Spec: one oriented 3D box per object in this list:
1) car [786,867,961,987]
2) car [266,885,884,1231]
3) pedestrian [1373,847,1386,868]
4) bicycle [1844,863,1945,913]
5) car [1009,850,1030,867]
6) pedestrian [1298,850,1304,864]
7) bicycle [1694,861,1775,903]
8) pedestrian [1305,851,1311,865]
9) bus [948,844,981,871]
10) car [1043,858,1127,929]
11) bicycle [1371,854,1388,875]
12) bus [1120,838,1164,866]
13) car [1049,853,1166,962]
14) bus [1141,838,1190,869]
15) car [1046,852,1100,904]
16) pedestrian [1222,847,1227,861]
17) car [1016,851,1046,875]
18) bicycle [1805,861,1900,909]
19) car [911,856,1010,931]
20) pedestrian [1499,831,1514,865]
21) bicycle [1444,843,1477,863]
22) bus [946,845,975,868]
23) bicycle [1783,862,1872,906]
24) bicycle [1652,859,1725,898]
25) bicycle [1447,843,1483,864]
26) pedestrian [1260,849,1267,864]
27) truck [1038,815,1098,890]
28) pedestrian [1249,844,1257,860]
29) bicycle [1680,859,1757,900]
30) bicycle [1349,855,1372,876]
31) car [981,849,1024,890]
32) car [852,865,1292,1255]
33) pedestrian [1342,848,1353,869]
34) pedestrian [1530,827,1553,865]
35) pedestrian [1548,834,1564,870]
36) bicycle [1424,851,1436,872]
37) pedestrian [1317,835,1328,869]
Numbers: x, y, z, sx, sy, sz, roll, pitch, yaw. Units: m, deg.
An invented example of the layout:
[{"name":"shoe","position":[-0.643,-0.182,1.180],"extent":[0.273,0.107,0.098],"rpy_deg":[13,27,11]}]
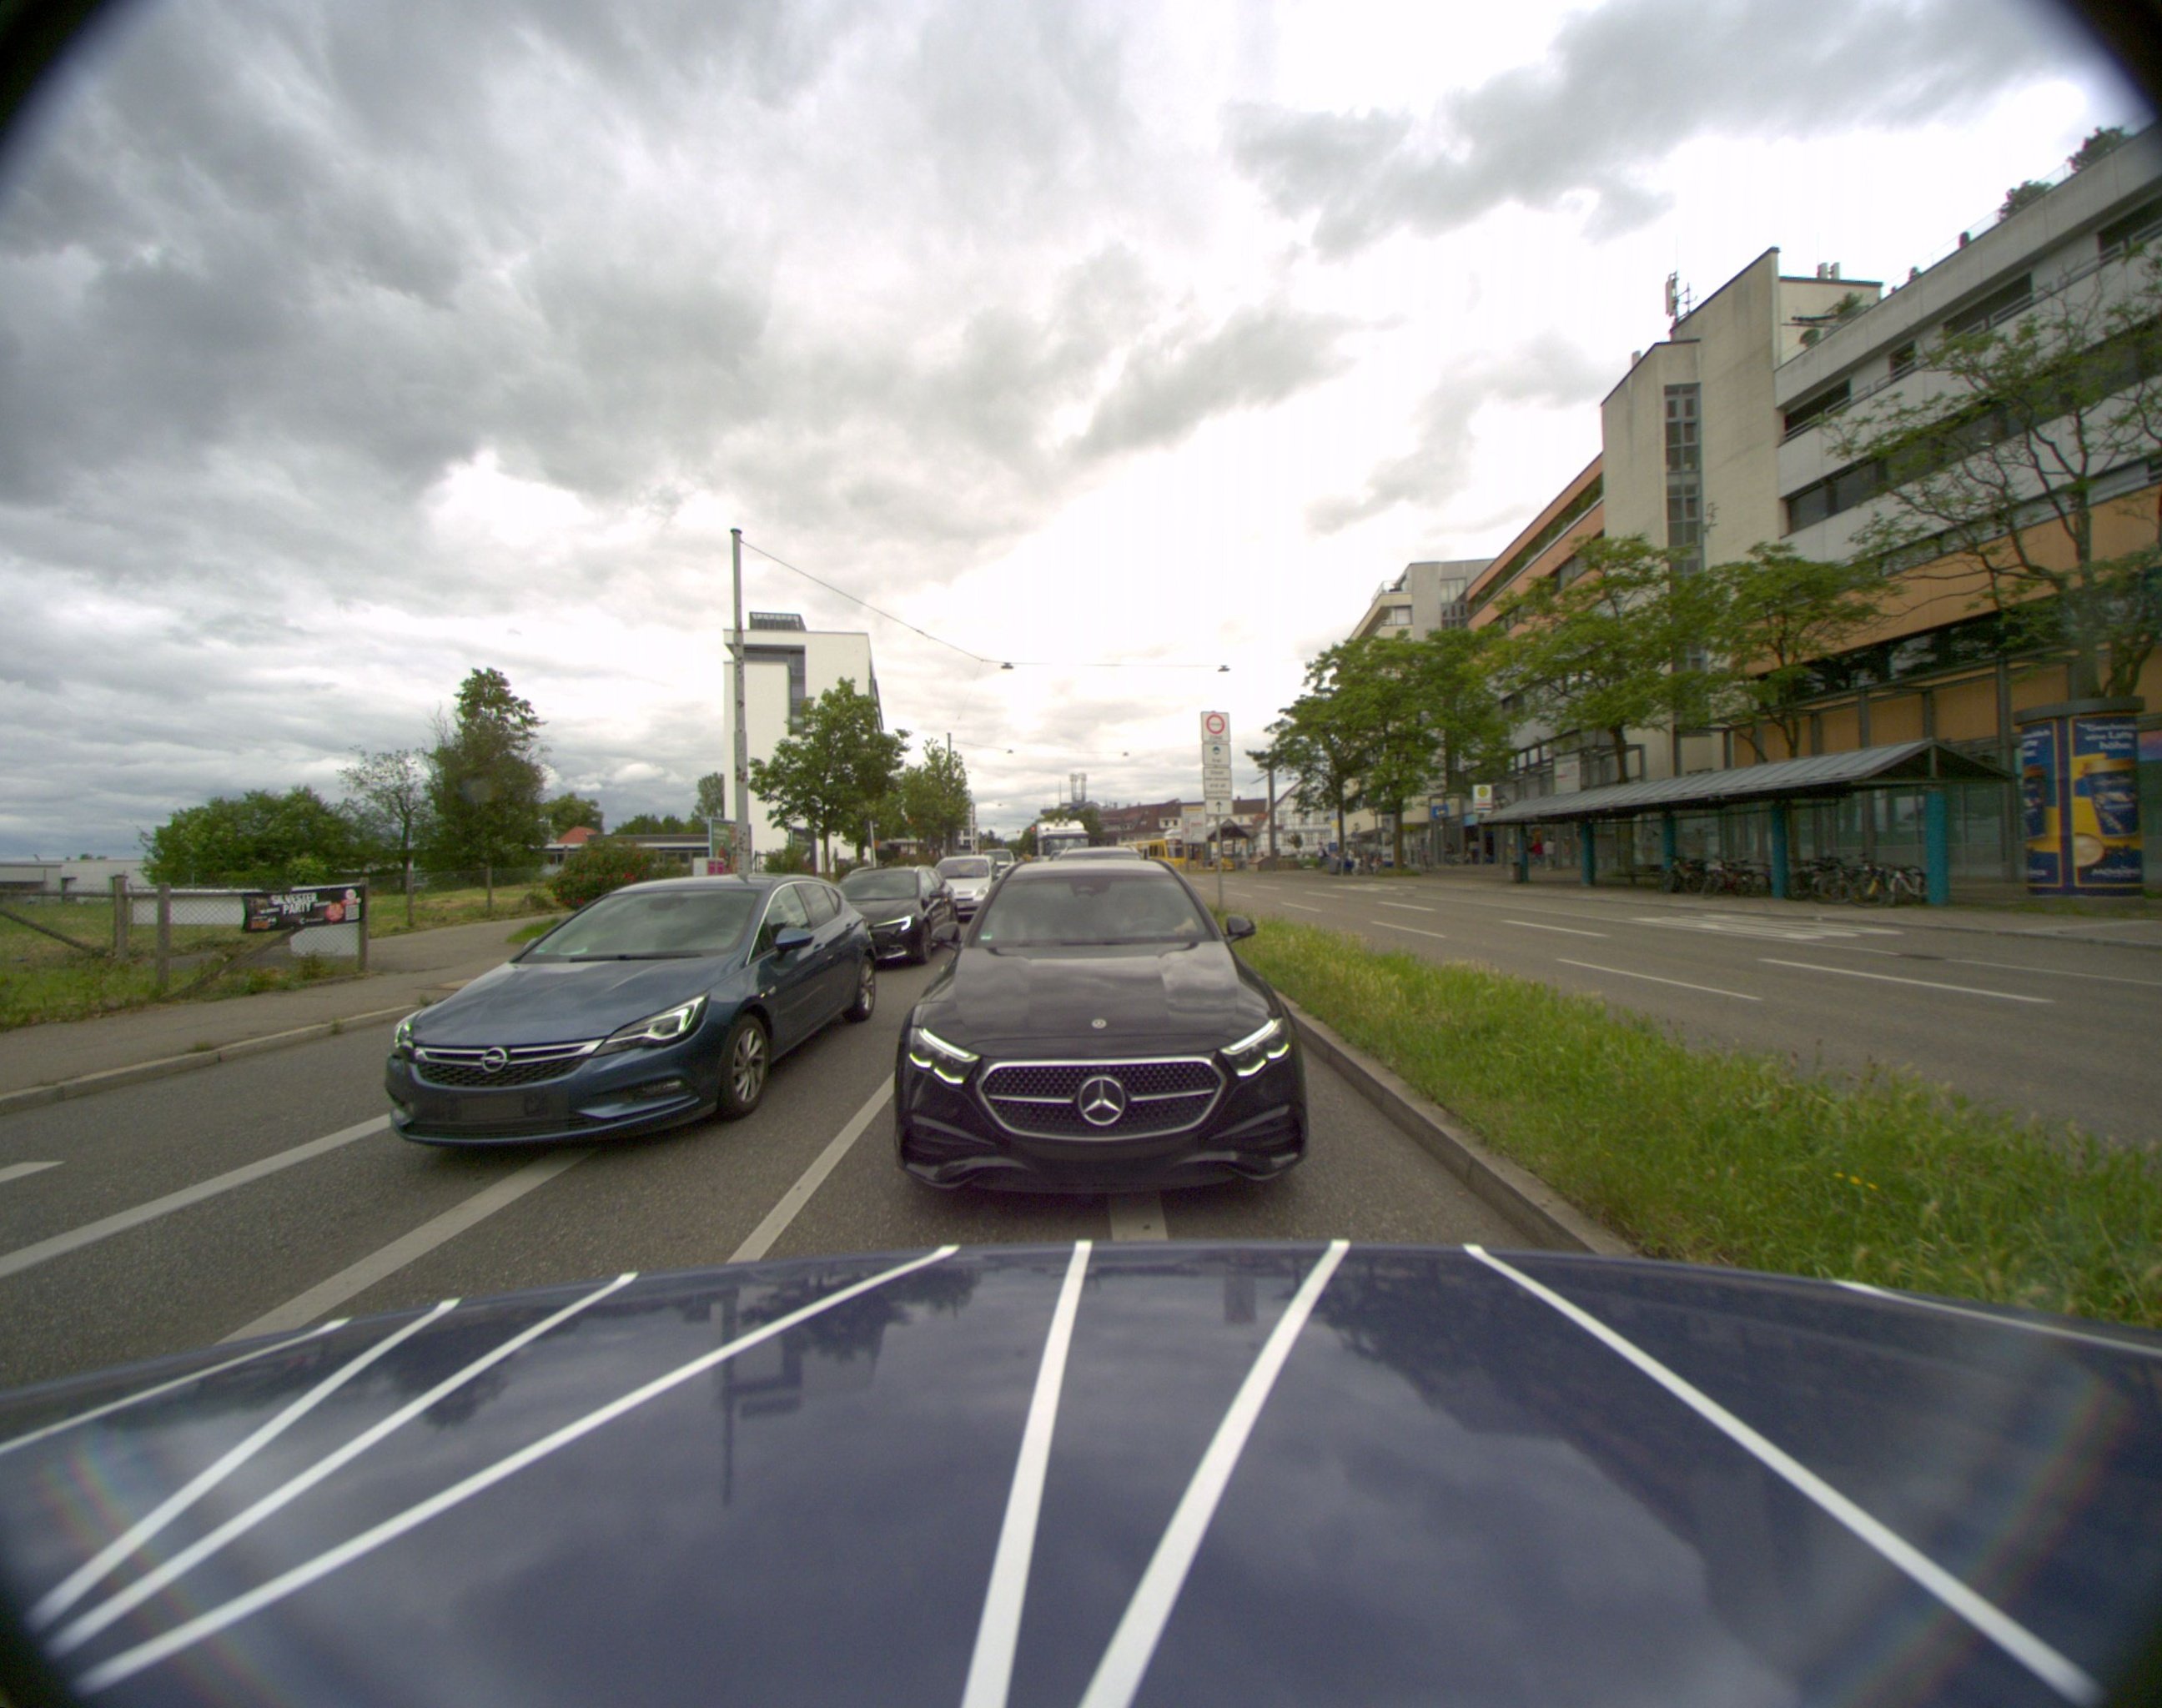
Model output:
[{"name":"car","position":[-3.069,1.010,12.090],"extent":[1.665,1.448,3.921],"rpy_deg":[-2,0,0]},{"name":"car","position":[-2.908,1.046,5.597],"extent":[1.826,1.402,3.999],"rpy_deg":[-2,0,0]},{"name":"pedestrian","position":[24.671,0.298,62.878],"extent":[0.765,1.673,0.752],"rpy_deg":[-1,1,1]},{"name":"bicycle","position":[18.690,0.770,17.469],"extent":[1.735,1.035,0.549],"rpy_deg":[-2,1,-2]},{"name":"car","position":[-6.790,0.486,83.511],"extent":[2.000,1.674,3.997],"rpy_deg":[-4,1,-8]},{"name":"pedestrian","position":[23.141,0.351,80.072],"extent":[0.555,1.486,0.454],"rpy_deg":[-1,1,8]},{"name":"bicycle","position":[17.952,0.772,20.882],"extent":[1.735,1.035,0.549],"rpy_deg":[-3,1,-2]},{"name":"pedestrian","position":[23.902,0.386,79.951],"extent":[0.555,1.486,0.454],"rpy_deg":[-1,1,8]},{"name":"bus","position":[-12.817,0.303,82.795],"extent":[2.969,2.616,12.137],"rpy_deg":[-2,1,-11]},{"name":"car","position":[0.049,0.893,18.979],"extent":[1.865,1.520,3.999],"rpy_deg":[-1,0,-1]},{"name":"bicycle","position":[16.404,0.581,41.717],"extent":[0.593,1.071,2.041],"rpy_deg":[0,1,29]},{"name":"bus","position":[6.933,-0.223,88.018],"extent":[2.556,2.966,9.789],"rpy_deg":[-1,0,-11]},{"name":"car","position":[0.397,0.809,13.553],"extent":[1.734,1.601,3.999],"rpy_deg":[-1,0,0]},{"name":"bus","position":[8.699,-0.078,79.084],"extent":[2.556,2.966,8.498],"rpy_deg":[-1,0,-11]},{"name":"car","position":[-0.361,0.845,28.417],"extent":[1.865,1.773,3.999],"rpy_deg":[-1,0,-2]},{"name":"pedestrian","position":[20.437,-0.049,108.348],"extent":[0.742,2.002,0.939],"rpy_deg":[-1,1,11]},{"name":"car","position":[-3.948,0.682,59.229],"extent":[2.000,1.674,3.997],"rpy_deg":[-4,1,-8]},{"name":"bicycle","position":[18.630,0.737,18.355],"extent":[1.735,1.035,0.549],"rpy_deg":[-3,1,-2]},{"name":"car","position":[-2.961,0.925,19.458],"extent":[1.851,1.607,3.783],"rpy_deg":[-3,0,0]},{"name":"pedestrian","position":[25.278,-0.355,45.162],"extent":[0.566,2.002,0.611],"rpy_deg":[-1,1,6]},{"name":"bicycle","position":[27.758,-0.081,55.623],"extent":[2.138,1.359,0.620],"rpy_deg":[-2,1,26]},{"name":"bus","position":[-15.224,0.244,95.117],"extent":[2.969,2.616,12.911],"rpy_deg":[-2,1,-11]},{"name":"bicycle","position":[19.030,0.758,19.380],"extent":[1.735,1.035,0.549],"rpy_deg":[-2,1,-2]},{"name":"bicycle","position":[18.209,0.728,22.774],"extent":[1.735,1.035,0.549],"rpy_deg":[-3,1,-2]},{"name":"bicycle","position":[26.996,-0.022,53.471],"extent":[2.139,1.367,0.620],"rpy_deg":[-2,1,18]},{"name":"pedestrian","position":[19.288,0.283,80.182],"extent":[0.577,1.533,0.583],"rpy_deg":[-1,1,-8]},{"name":"truck","position":[-0.763,-0.080,36.793],"extent":[2.490,3.258,7.428],"rpy_deg":[-1,0,-4]},{"name":"pedestrian","position":[22.449,-0.237,99.004],"extent":[0.879,2.002,1.010],"rpy_deg":[-1,1,6]},{"name":"bicycle","position":[18.288,0.724,21.814],"extent":[1.735,1.035,0.549],"rpy_deg":[-4,1,-2]},{"name":"bicycle","position":[15.481,0.614,42.088],"extent":[0.593,1.071,2.041],"rpy_deg":[0,1,38]},{"name":"car","position":[-3.955,0.727,38.755],"extent":[1.852,1.875,4.135],"rpy_deg":[-3,0,-2]},{"name":"car","position":[-0.047,0.881,5.260],"extent":[1.793,1.507,4.249],"rpy_deg":[-1,0,0]},{"name":"pedestrian","position":[23.617,0.417,67.338],"extent":[0.765,1.835,0.752],"rpy_deg":[-1,1,1]},{"name":"pedestrian","position":[25.230,-0.444,41.620],"extent":[0.710,2.002,0.794],"rpy_deg":[-2,1,0]},{"name":"pedestrian","position":[24.102,-0.084,38.559],"extent":[0.648,1.799,0.761],"rpy_deg":[0,1,34]},{"name":"bicycle","position":[19.489,0.428,42.456],"extent":[0.593,1.119,2.040],"rpy_deg":[0,1,24]},{"name":"pedestrian","position":[16.780,-0.148,52.833],"extent":[0.590,2.294,0.608],"rpy_deg":[-1,1,-2]}]
